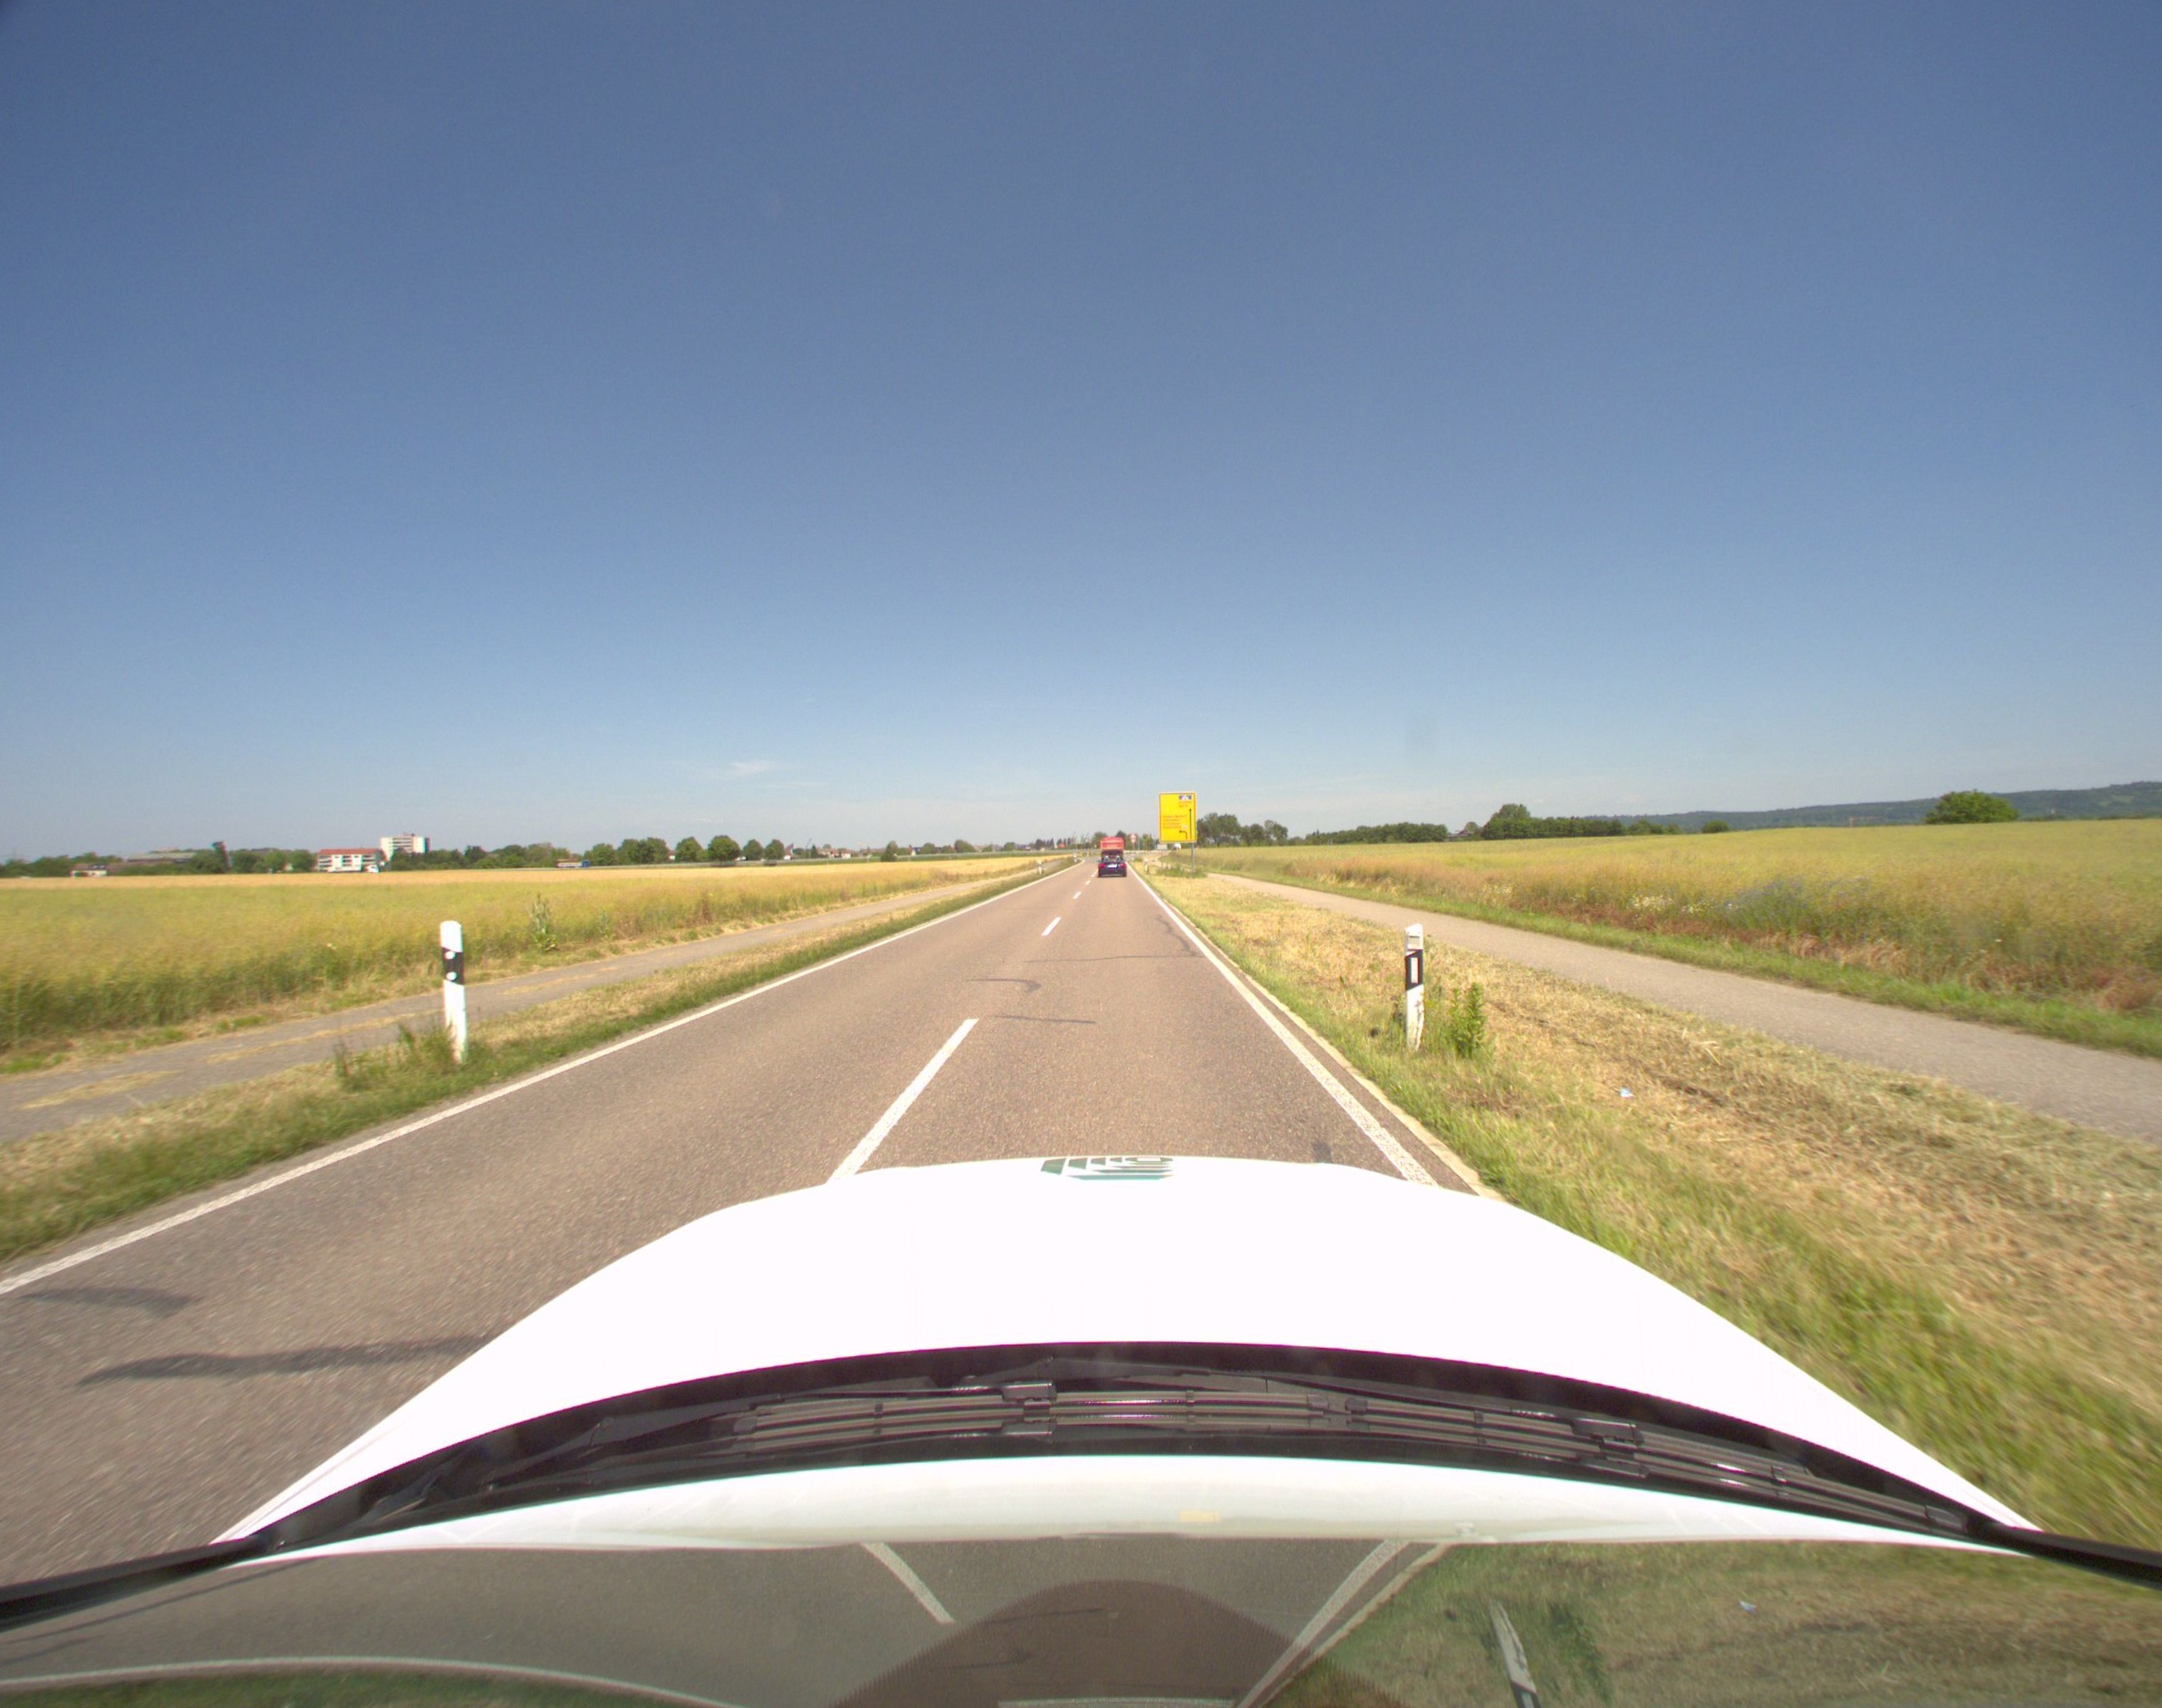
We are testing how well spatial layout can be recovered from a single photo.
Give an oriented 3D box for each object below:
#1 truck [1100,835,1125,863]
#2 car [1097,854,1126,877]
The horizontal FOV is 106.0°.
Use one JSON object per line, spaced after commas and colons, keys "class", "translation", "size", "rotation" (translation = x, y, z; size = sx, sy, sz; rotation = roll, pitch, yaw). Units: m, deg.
{"class": "truck", "translation": [3.602, -0.531, 92.491], "size": [2.703, 3.052, 8.168], "rotation": [0, 0, 2]}
{"class": "car", "translation": [1.885, 0.689, 50.014], "size": [1.740, 1.375, 3.681], "rotation": [1, 0, 2]}
